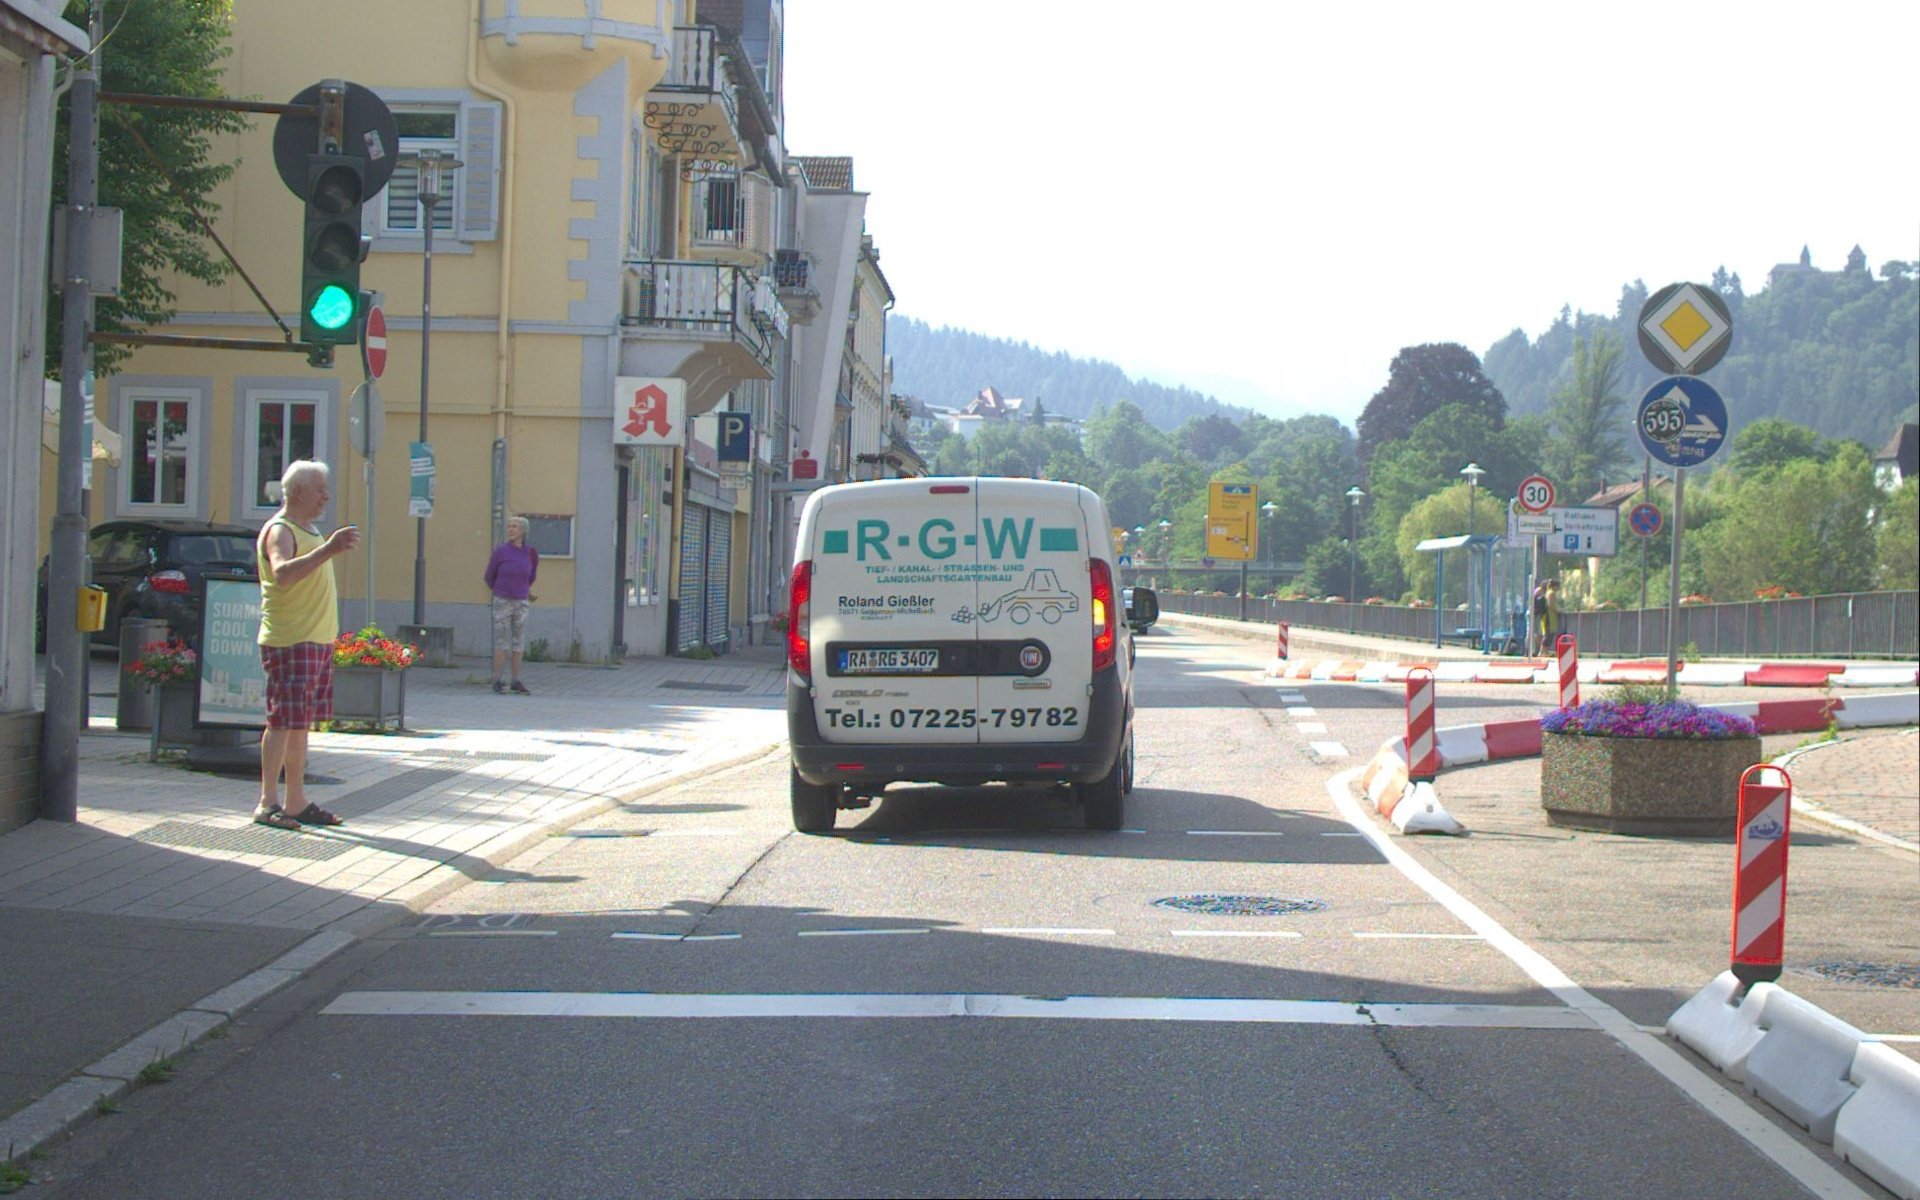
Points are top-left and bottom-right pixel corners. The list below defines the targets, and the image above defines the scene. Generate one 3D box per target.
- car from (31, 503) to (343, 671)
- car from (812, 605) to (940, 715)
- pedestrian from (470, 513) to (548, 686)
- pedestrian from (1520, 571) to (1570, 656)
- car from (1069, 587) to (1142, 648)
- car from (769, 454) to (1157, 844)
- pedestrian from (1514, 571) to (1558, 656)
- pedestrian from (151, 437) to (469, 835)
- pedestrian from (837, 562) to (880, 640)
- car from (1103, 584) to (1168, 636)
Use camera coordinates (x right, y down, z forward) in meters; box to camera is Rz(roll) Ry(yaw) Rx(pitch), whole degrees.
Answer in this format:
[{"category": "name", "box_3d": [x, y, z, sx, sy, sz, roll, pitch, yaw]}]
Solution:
[{"category": "car", "box_3d": [-8.231, -0.168, 36.377, 1.917, 1.537, 3.959, 2, 2, -33]}, {"category": "car", "box_3d": [-1.237, 0.882, 51.905, 1.846, 1.563, 3.568, 1, 0, 0]}, {"category": "pedestrian", "box_3d": [-4.528, -0.013, 34.534, 0.678, 1.709, 0.617, 2, 1, -3]}, {"category": "pedestrian", "box_3d": [11.847, 0.273, 69.614, 0.867, 1.700, 0.777, 2, 0, 3]}, {"category": "car", "box_3d": [4.239, 0.488, 100.637, 1.993, 1.656, 4.000, 2, 0, 1]}, {"category": "car", "box_3d": [0.134, 0.204, 19.444, 1.844, 1.899, 4.314, 2, 1, 4]}, {"category": "pedestrian", "box_3d": [11.776, 0.269, 70.280, 0.789, 1.700, 0.491, 2, 0, 3]}, {"category": "pedestrian", "box_3d": [-3.177, 0.177, 16.803, 1.020, 1.809, 0.905, 7, 0, 40]}, {"category": "pedestrian", "box_3d": [-2.238, 0.018, 75.810, 0.690, 1.691, 0.658, 1, 0, 28]}, {"category": "car", "box_3d": [5.910, 0.321, 116.102, 1.993, 1.656, 4.000, 2, 0, 1]}]
